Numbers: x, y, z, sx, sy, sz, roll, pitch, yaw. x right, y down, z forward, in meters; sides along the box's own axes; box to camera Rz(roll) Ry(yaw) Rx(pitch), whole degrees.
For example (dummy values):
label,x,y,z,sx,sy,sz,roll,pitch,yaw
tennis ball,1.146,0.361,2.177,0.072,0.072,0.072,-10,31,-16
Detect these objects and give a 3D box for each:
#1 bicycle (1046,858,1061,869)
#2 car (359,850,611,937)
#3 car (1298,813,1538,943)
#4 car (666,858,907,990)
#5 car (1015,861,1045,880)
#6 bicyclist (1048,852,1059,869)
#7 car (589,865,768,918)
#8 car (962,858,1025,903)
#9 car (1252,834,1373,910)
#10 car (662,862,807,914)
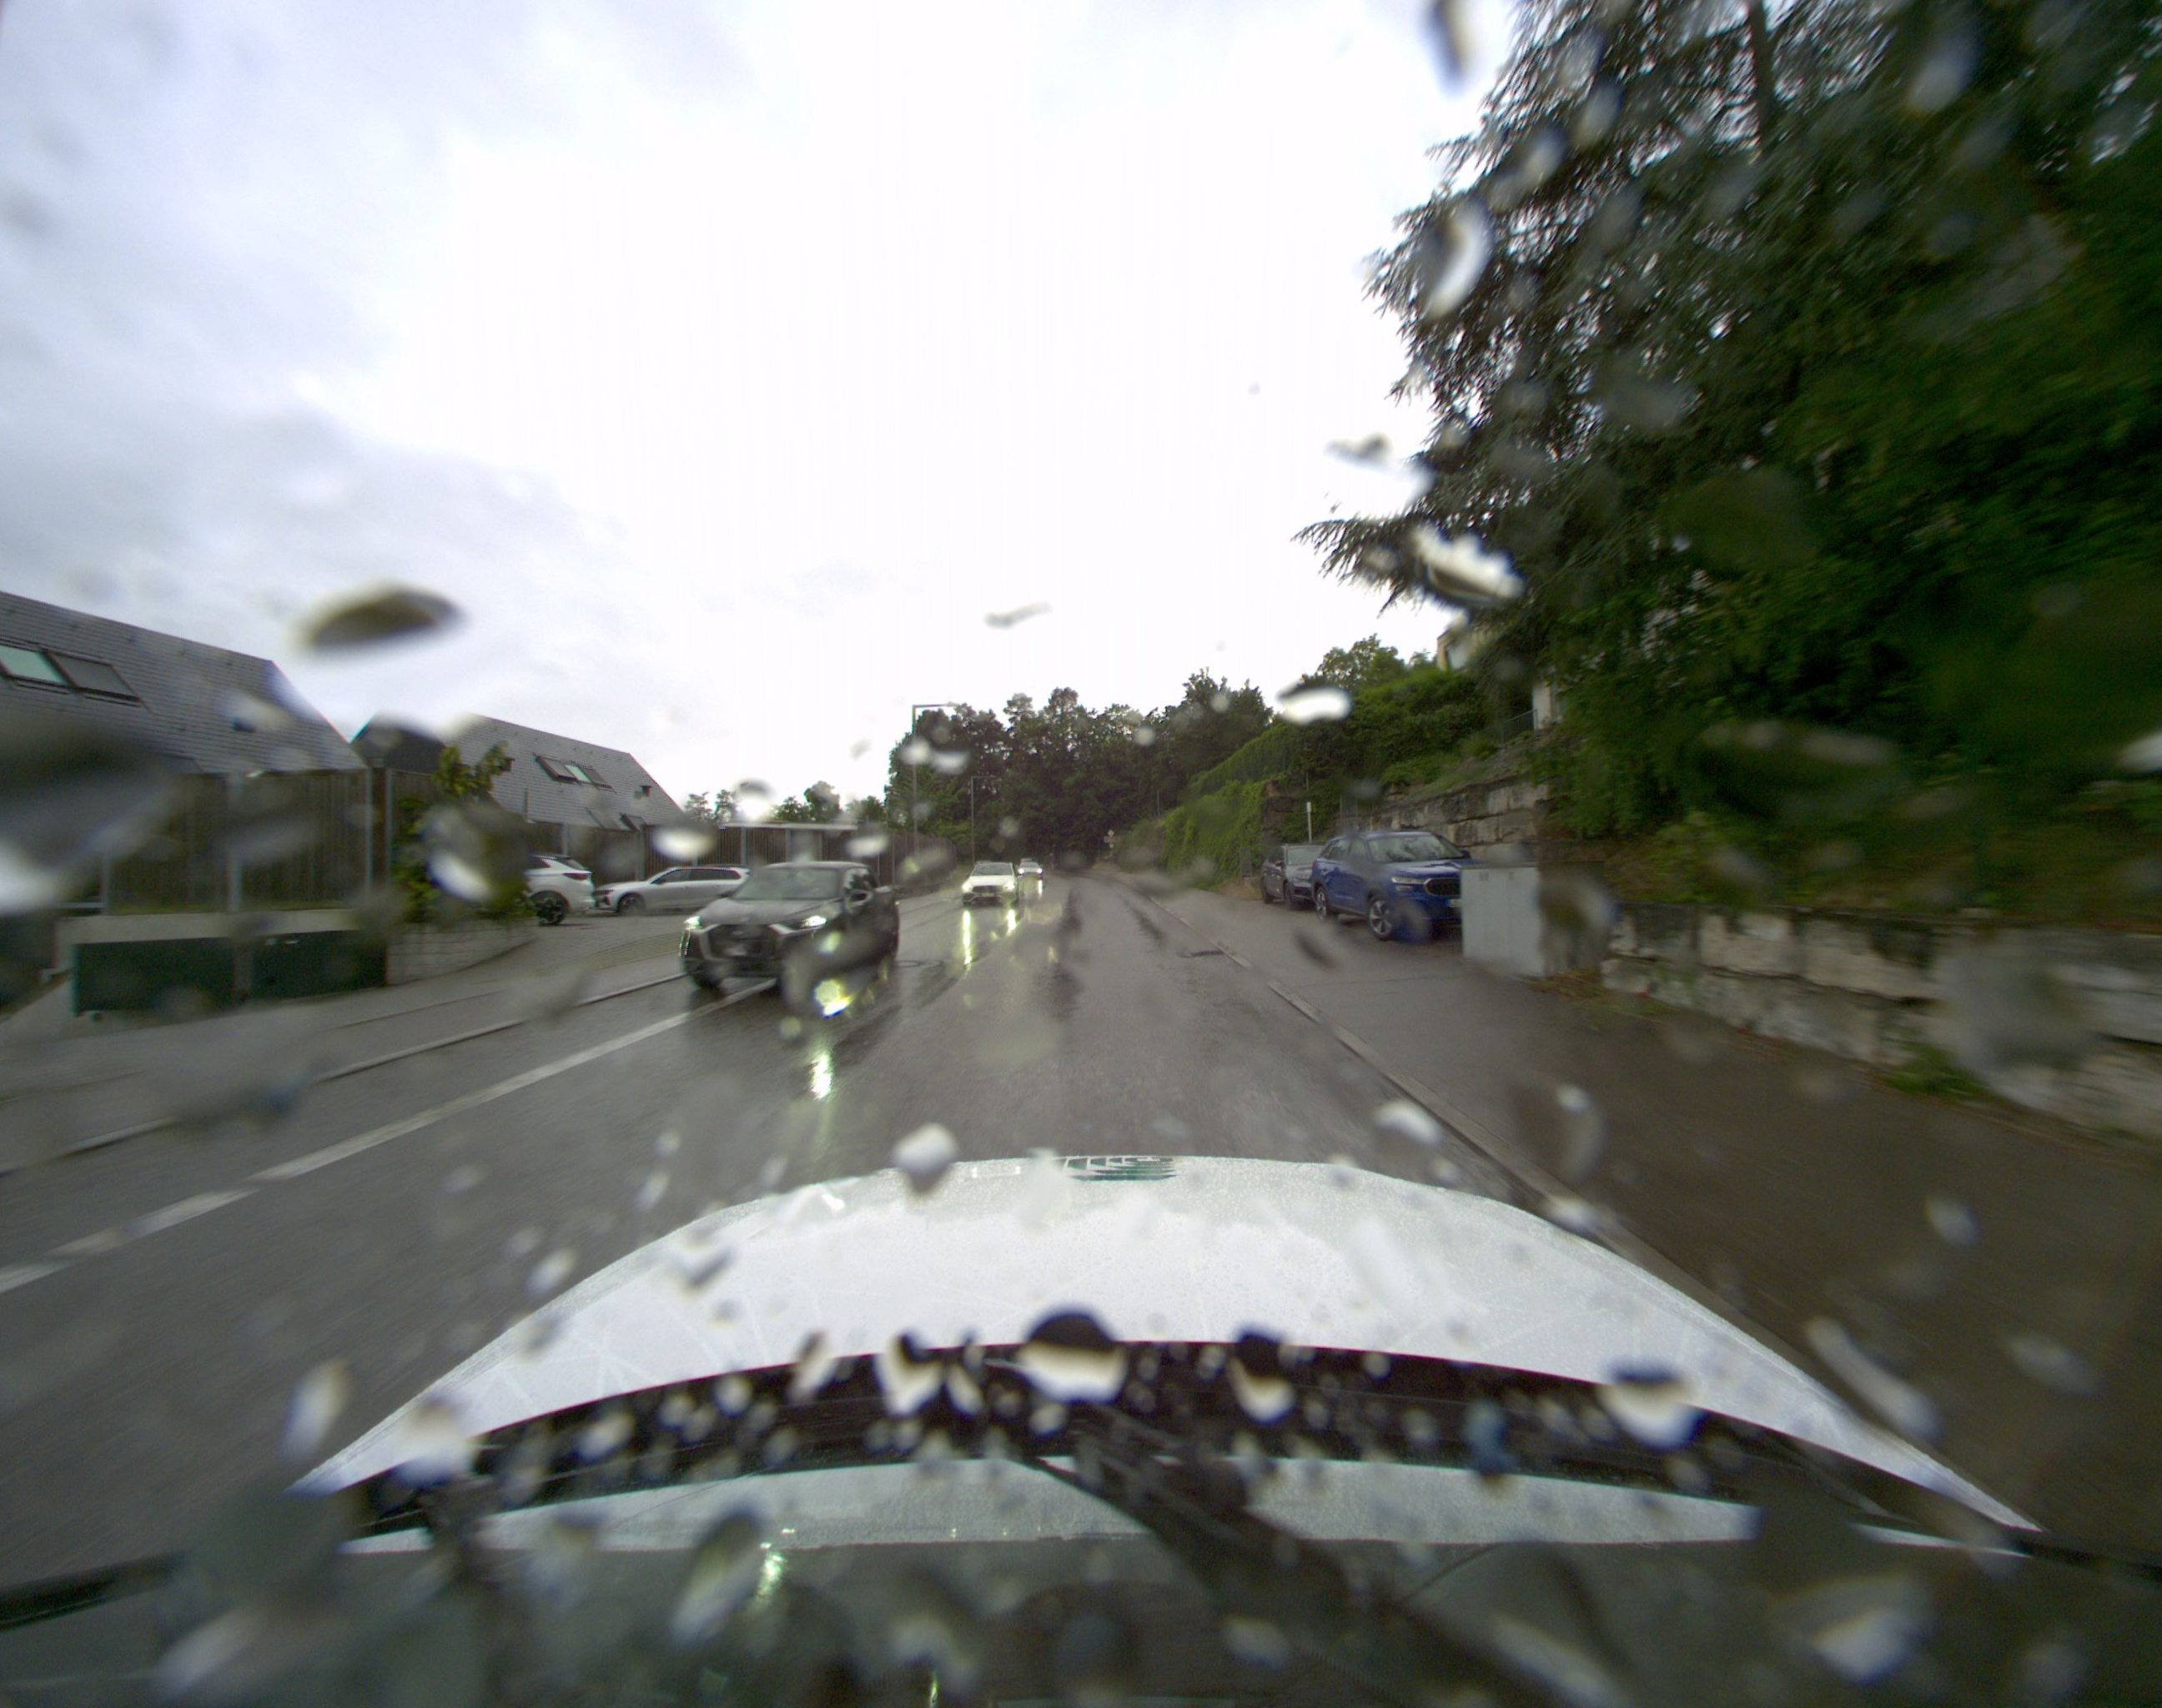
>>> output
label,x,y,z,sx,sy,sz,roll,pitch,yaw
bicycle,-2.858,0.983,84.653,1.600,1.084,0.532,4,4,40
car,-12.341,0.739,17.100,4.077,1.574,1.921,-1,-1,-37
car,5.326,0.345,13.654,1.988,1.670,4.542,-4,0,-1
car,-3.726,0.796,11.044,1.844,1.469,3.700,-1,0,1
car,-3.794,1.154,59.570,1.880,1.283,4.198,-2,0,-8
bicyclist,-2.873,0.657,84.656,0.894,1.614,0.727,4,4,39
car,-12.032,1.066,24.520,4.555,1.442,1.741,0,-1,-39
car,-3.045,0.882,29.010,1.842,1.460,4.265,-1,0,-1
car,5.516,0.400,19.939,1.804,1.563,4.011,-4,0,1
car,-11.885,1.114,28.021,4.310,1.601,1.818,0,0,-34
